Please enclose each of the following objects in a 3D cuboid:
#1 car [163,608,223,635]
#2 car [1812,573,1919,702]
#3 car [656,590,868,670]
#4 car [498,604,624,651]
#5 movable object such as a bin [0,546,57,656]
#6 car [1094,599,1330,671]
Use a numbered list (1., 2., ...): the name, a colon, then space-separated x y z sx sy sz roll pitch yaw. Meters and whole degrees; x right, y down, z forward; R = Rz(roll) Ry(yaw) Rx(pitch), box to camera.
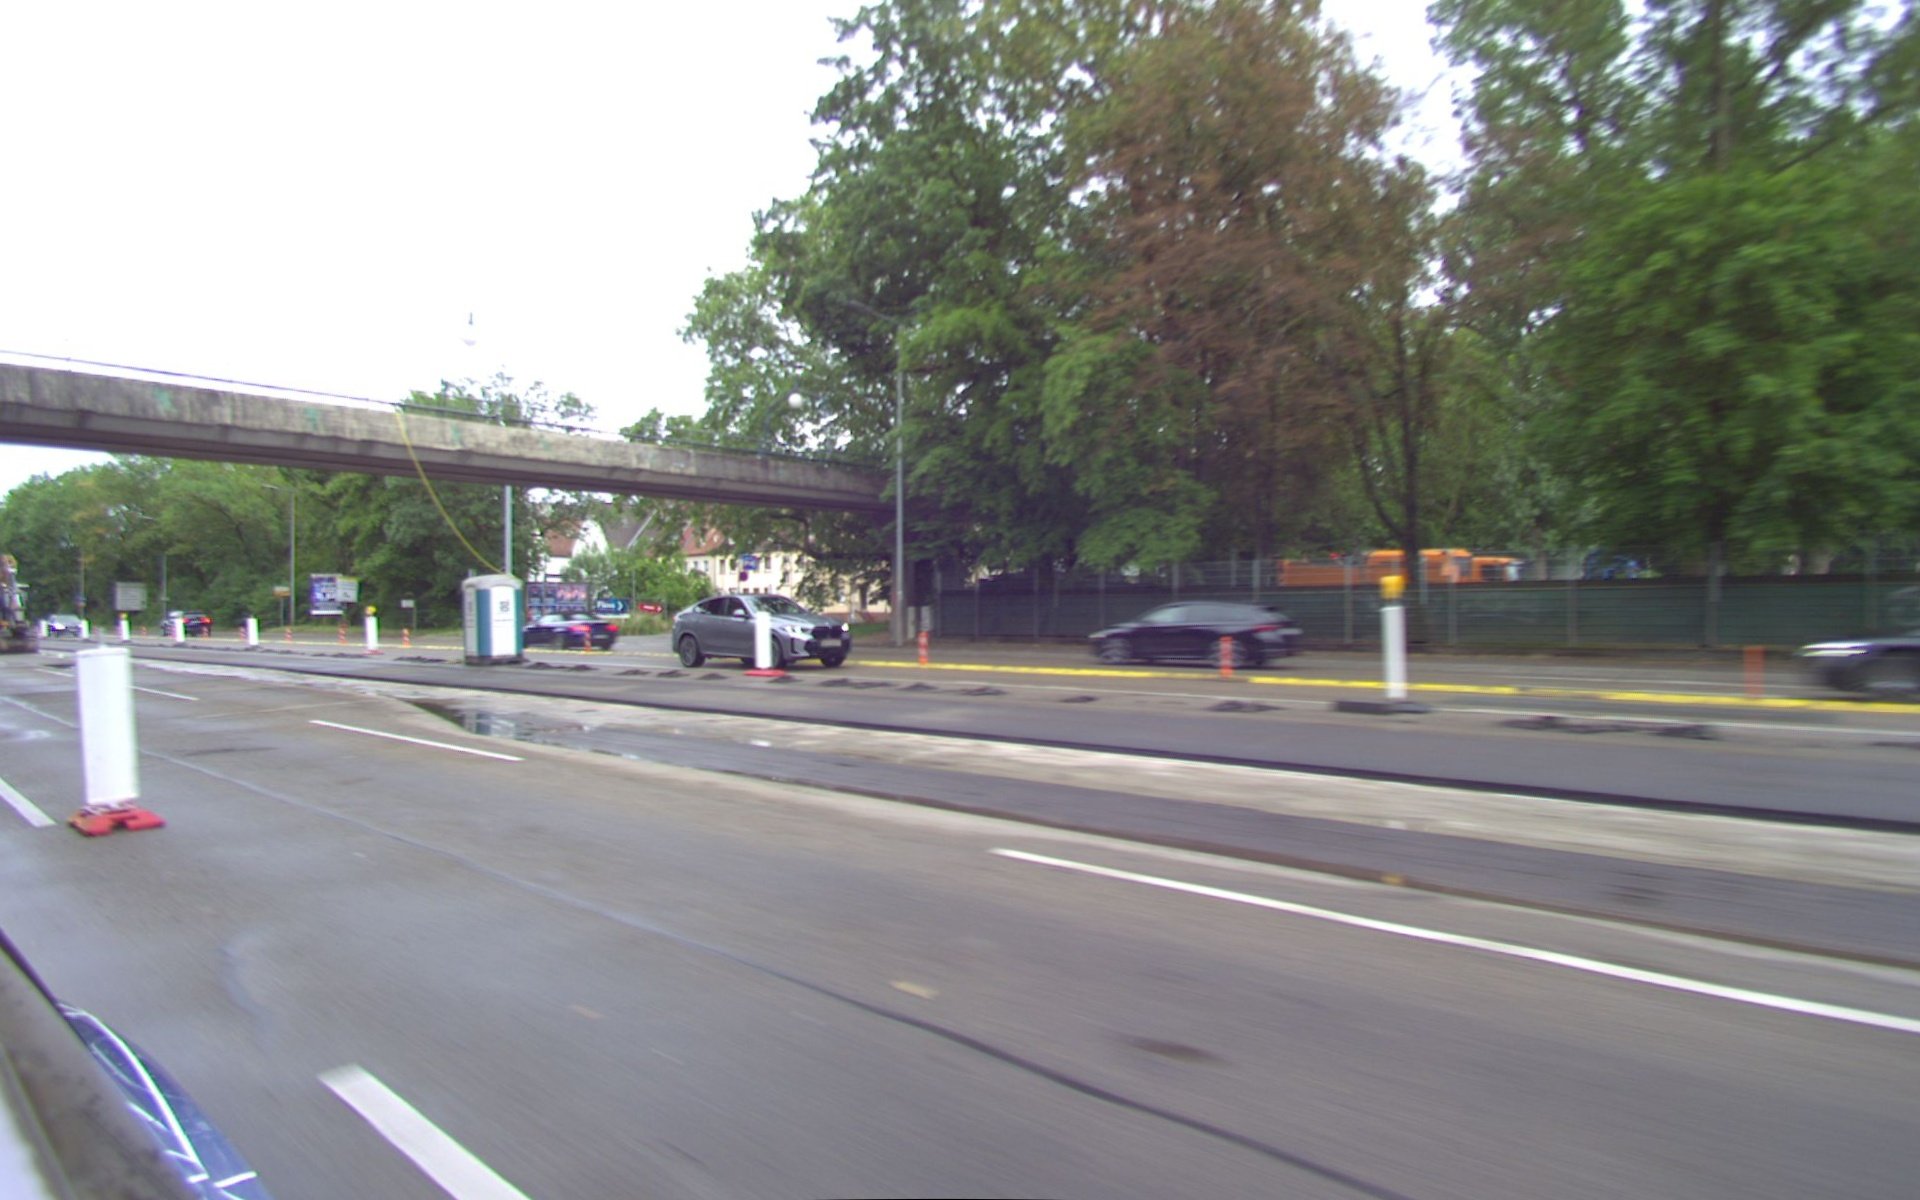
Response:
1. car: -51.560 1.421 67.995 5.052 1.752 2.193 -1 0 40
2. car: 13.149 0.396 11.645 5.087 1.524 2.056 -1 0 41
3. car: -4.608 0.624 23.070 5.053 1.625 2.055 -1 0 40
4. car: -13.936 0.918 35.231 4.880 1.470 1.973 -1 0 40
5. movable object such as a bin: -43.814 0.070 45.529 10.064 4.555 3.481 -1 0 41
6. car: 5.339 0.684 21.838 4.566 1.358 1.972 0 1 43
